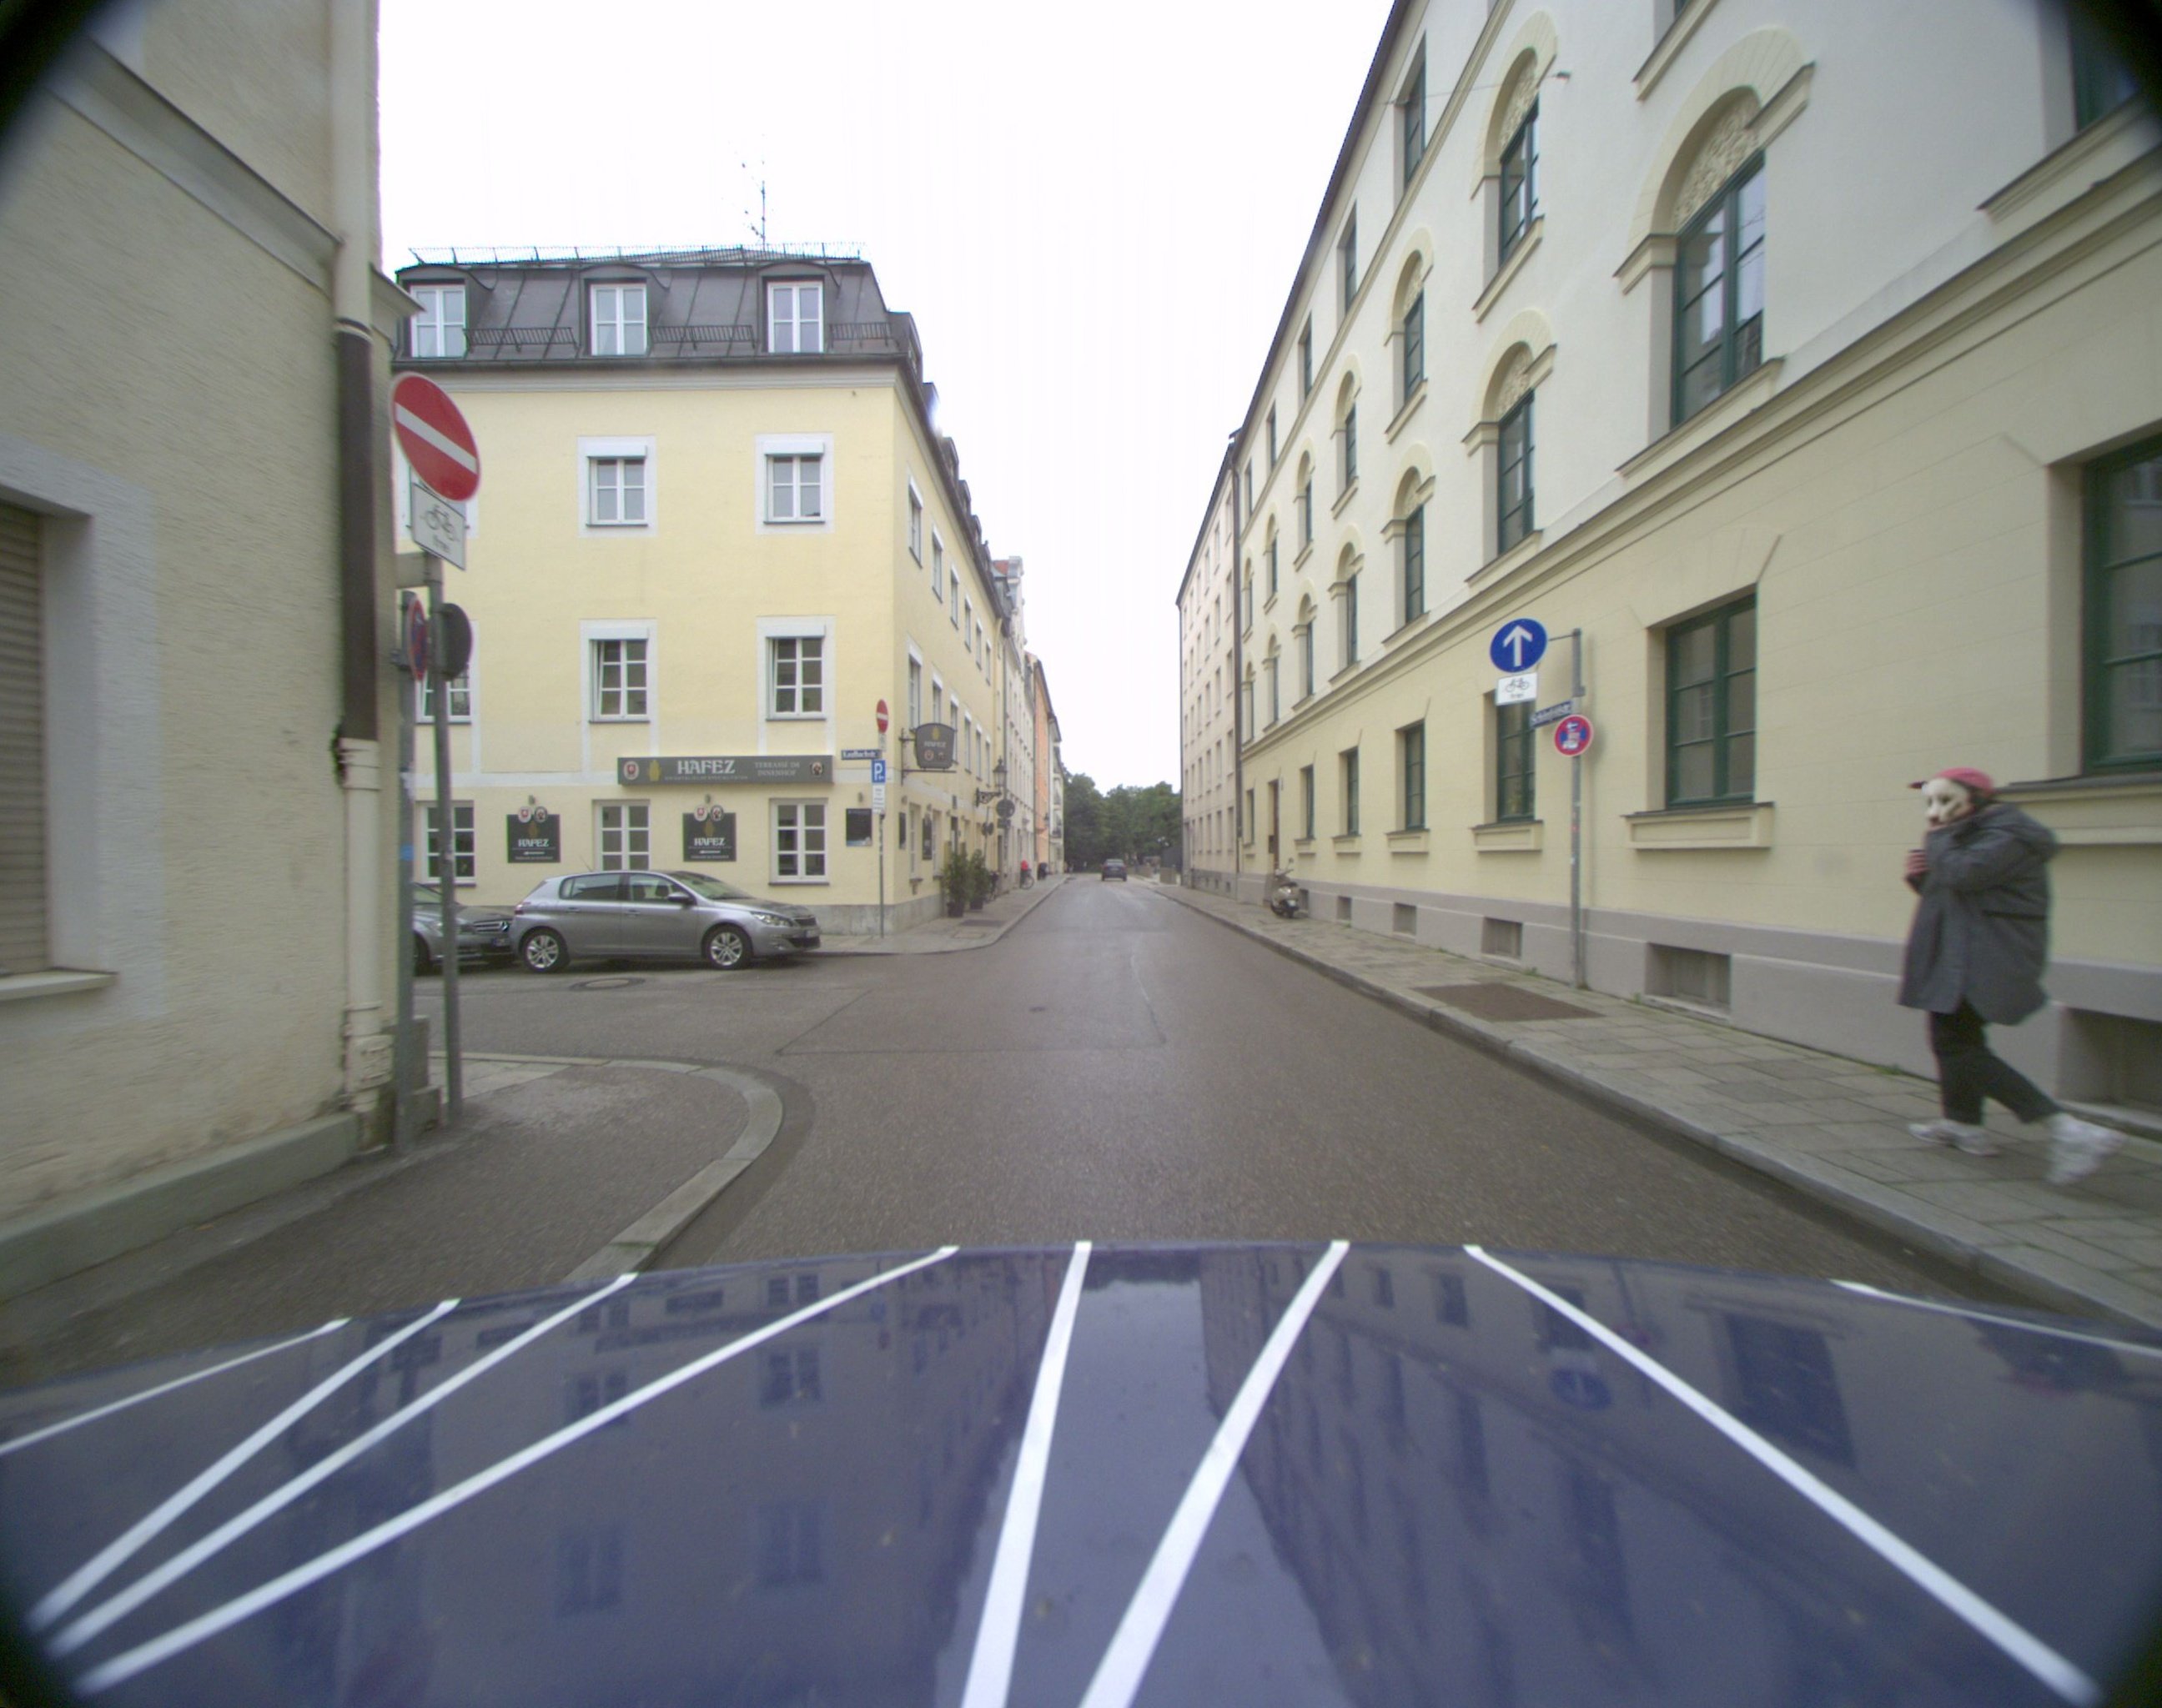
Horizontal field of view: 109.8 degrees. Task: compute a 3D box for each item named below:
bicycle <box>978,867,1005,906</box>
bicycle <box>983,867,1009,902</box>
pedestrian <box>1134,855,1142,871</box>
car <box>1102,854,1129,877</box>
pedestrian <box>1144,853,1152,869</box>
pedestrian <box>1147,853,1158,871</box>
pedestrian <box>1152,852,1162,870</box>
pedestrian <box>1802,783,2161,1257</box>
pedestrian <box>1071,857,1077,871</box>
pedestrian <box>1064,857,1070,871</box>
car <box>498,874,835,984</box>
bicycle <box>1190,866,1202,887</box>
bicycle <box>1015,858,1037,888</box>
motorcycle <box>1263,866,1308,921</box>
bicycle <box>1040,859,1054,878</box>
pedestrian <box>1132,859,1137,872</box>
[{"bbox_3d":[-2.793,1.012,23.943,0.567,1.130,1.684,2,0,2],"label":"bicycle"},{"bbox_3d":[-2.901,1.026,26.165,0.567,1.130,1.988,2,0,2],"label":"bicycle"},{"bbox_3d":[5.444,0.851,72.961,0.640,1.458,1.079,-2,0,1],"label":"pedestrian"},{"bbox_3d":[2.455,0.824,54.399,1.816,1.584,4.001,-1,0,1],"label":"car"},{"bbox_3d":[6.838,0.728,77.993,0.779,1.531,0.933,-2,0,4],"label":"pedestrian"},{"bbox_3d":[8.445,0.906,89.590,1.226,2.091,1.117,0,0,3],"label":"pedestrian"},{"bbox_3d":[7.257,0.665,72.721,0.826,1.712,0.906,-2,0,6],"label":"pedestrian"},{"bbox_3d":[4.055,0.620,3.321,0.811,1.745,0.990,-1,-1,-1],"label":"pedestrian"},{"bbox_3d":[-0.915,1.204,94.425,0.753,1.725,0.853,0,0,-1],"label":"pedestrian"},{"bbox_3d":[-1.784,1.244,94.349,0.753,1.670,0.656,0,0,-1],"label":"pedestrian"},{"bbox_3d":[-5.966,1.056,11.244,4.024,1.432,1.765,-1,-2,3],"label":"car"},{"bbox_3d":[5.476,1.046,36.181,0.320,0.938,1.574,-3,0,3],"label":"bicycle"},{"bbox_3d":[-2.686,0.912,37.249,0.715,1.388,2.122,2,0,3],"label":"bicycle"},{"bbox_3d":[4.758,0.894,17.768,0.603,1.167,1.708,-1,0,1],"label":"motorcycle"},{"bbox_3d":[-2.425,1.013,54.192,0.681,1.233,2.383,4,0,3],"label":"bicycle"},{"bbox_3d":[7.179,1.551,102.383,0.625,1.758,0.767,0,0,0],"label":"pedestrian"}]
